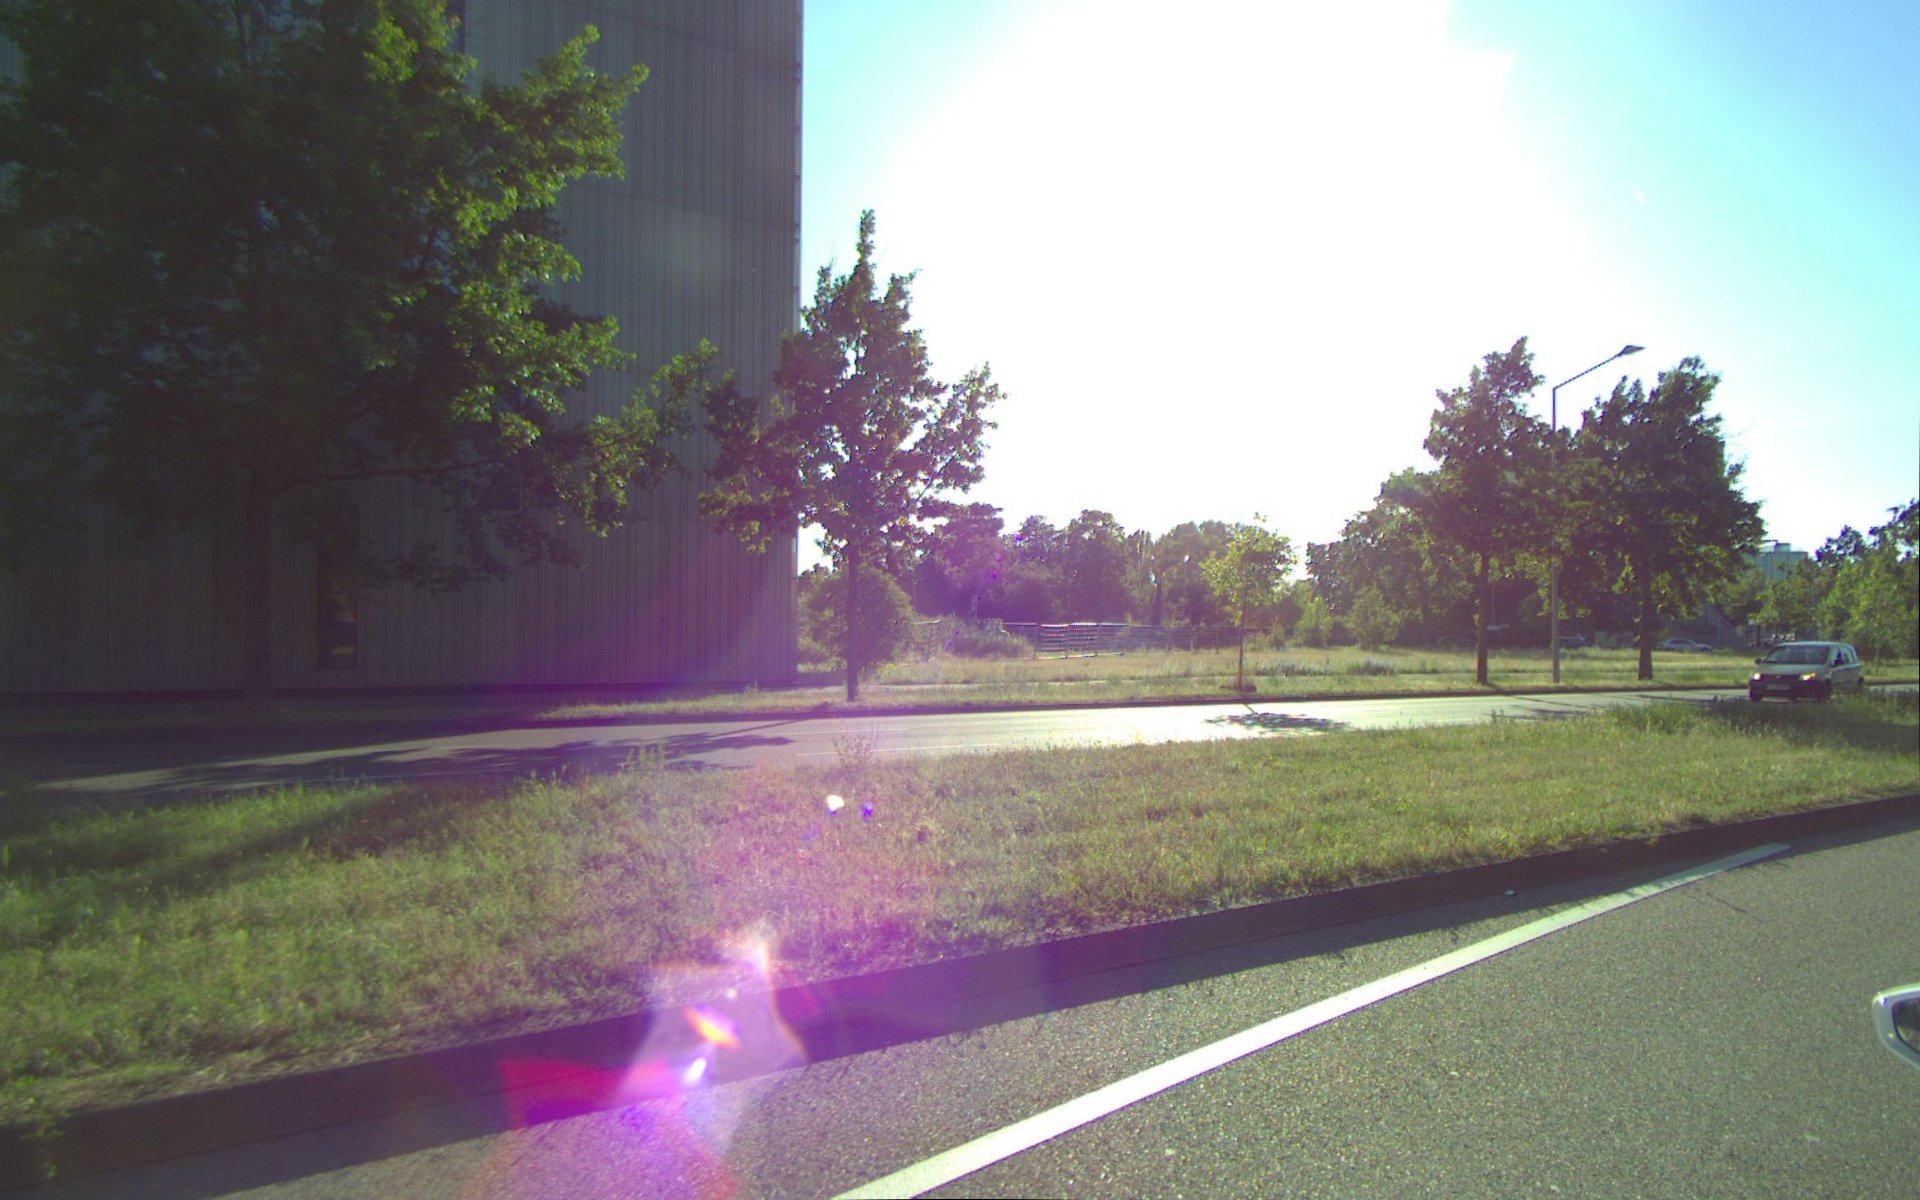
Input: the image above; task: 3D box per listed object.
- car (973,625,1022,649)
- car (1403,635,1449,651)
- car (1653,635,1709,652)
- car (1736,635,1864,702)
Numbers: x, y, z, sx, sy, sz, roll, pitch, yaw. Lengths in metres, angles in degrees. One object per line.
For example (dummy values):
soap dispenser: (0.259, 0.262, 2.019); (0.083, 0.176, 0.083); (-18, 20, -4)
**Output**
car: (3.288, 3.256, 87.761); (3.814, 2.040, 1.995); (-1, -2, 33)
car: (45.171, 4.156, 97.455); (3.914, 1.528, 1.876); (0, -2, 19)
car: (64.987, 3.915, 90.598); (3.635, 1.528, 1.876); (0, -2, 19)
car: (21.666, 1.729, 25.893); (3.374, 1.595, 1.554); (2, -2, -32)
